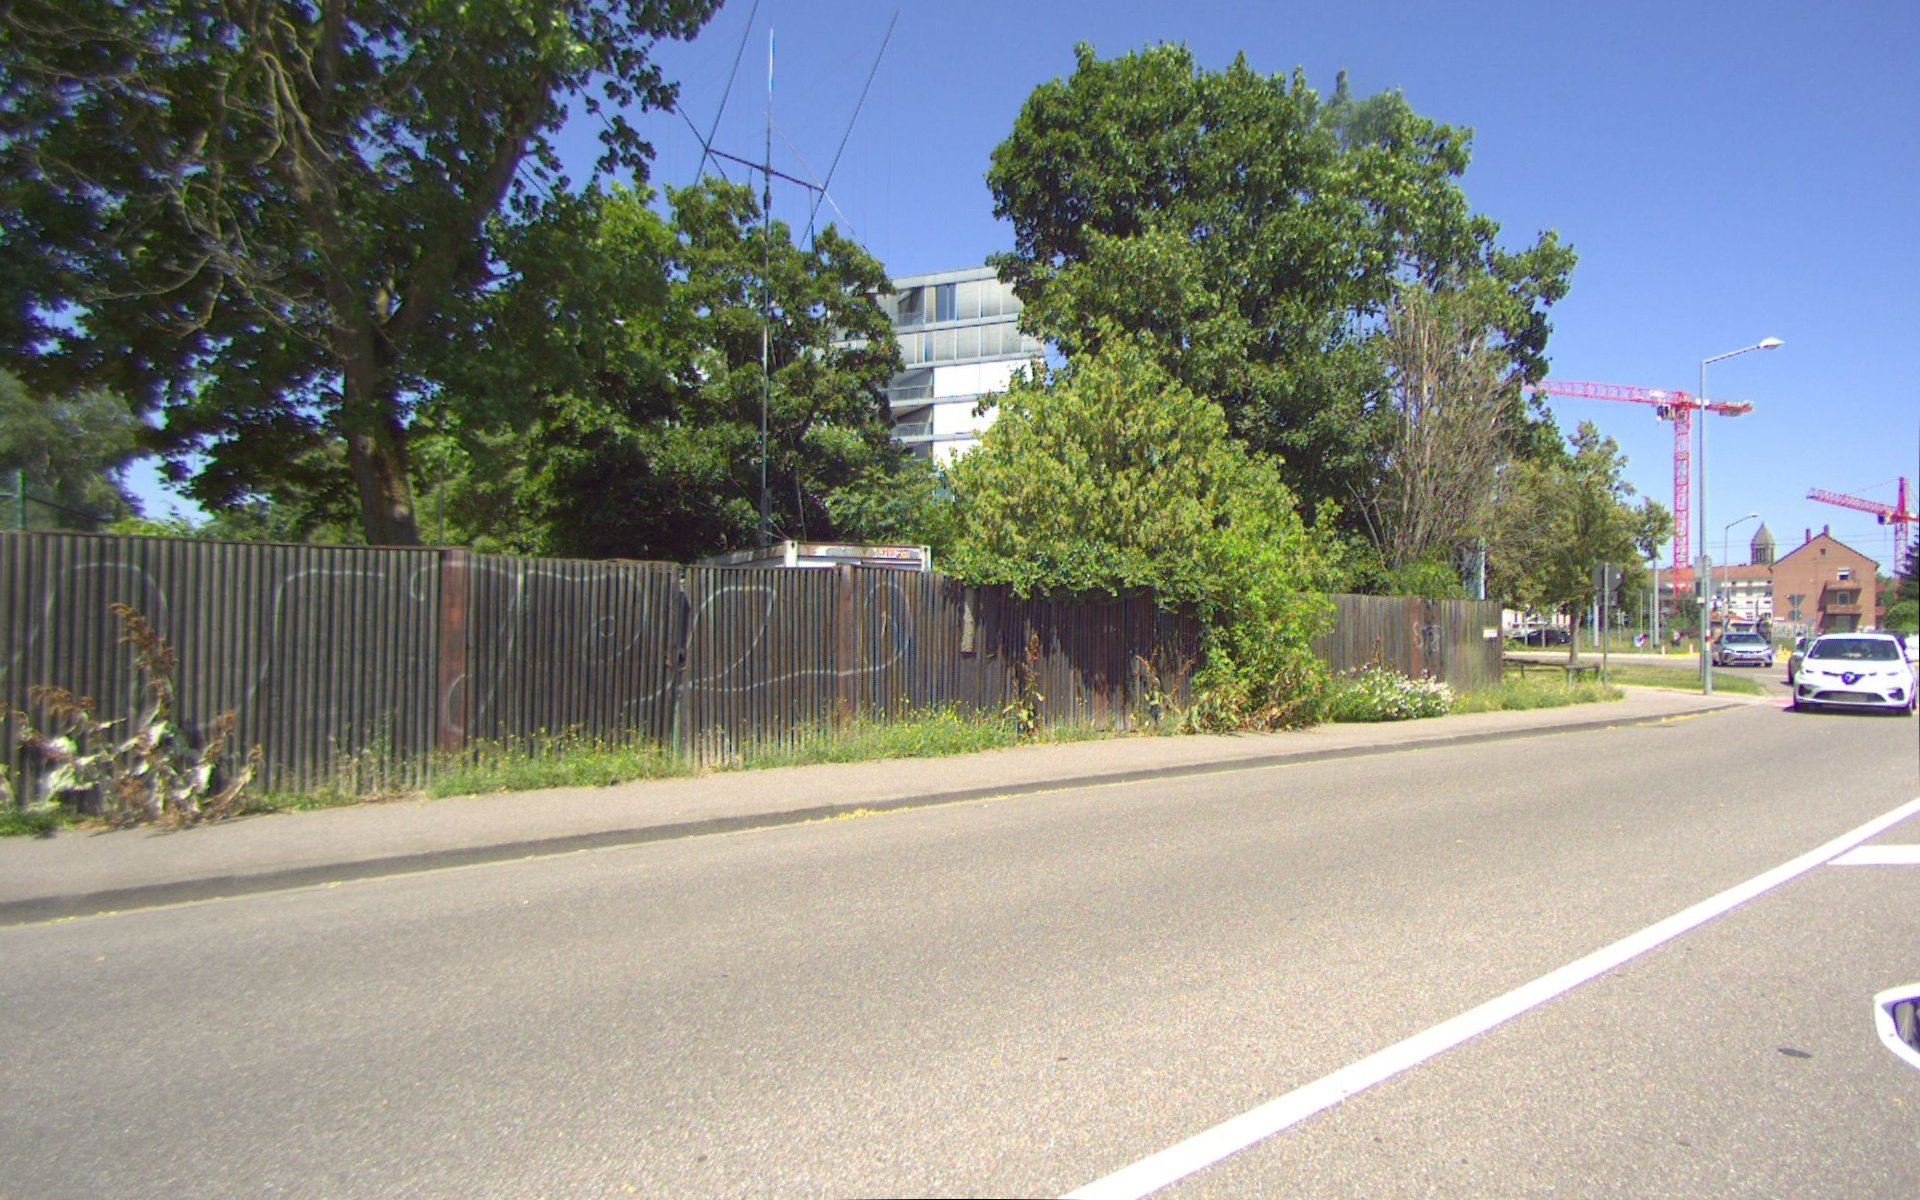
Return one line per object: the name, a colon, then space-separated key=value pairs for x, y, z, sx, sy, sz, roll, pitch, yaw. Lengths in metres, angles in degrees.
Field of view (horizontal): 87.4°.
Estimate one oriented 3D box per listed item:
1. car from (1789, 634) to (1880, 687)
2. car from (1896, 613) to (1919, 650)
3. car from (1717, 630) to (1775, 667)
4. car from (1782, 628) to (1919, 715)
car: x=25.881 y=1.730 z=29.678 sx=1.729 sy=1.390 sz=4.303 roll=1 pitch=0 yaw=45
car: x=65.669 y=2.129 z=66.326 sx=5.223 sy=2.429 sz=1.994 roll=2 pitch=0 yaw=20
car: x=33.458 y=2.026 z=42.831 sx=1.704 sy=1.421 sz=4.257 roll=2 pitch=0 yaw=36
car: x=17.817 y=1.348 z=19.987 sx=3.845 sy=1.547 sz=1.759 roll=2 pitch=-2 yaw=-43
